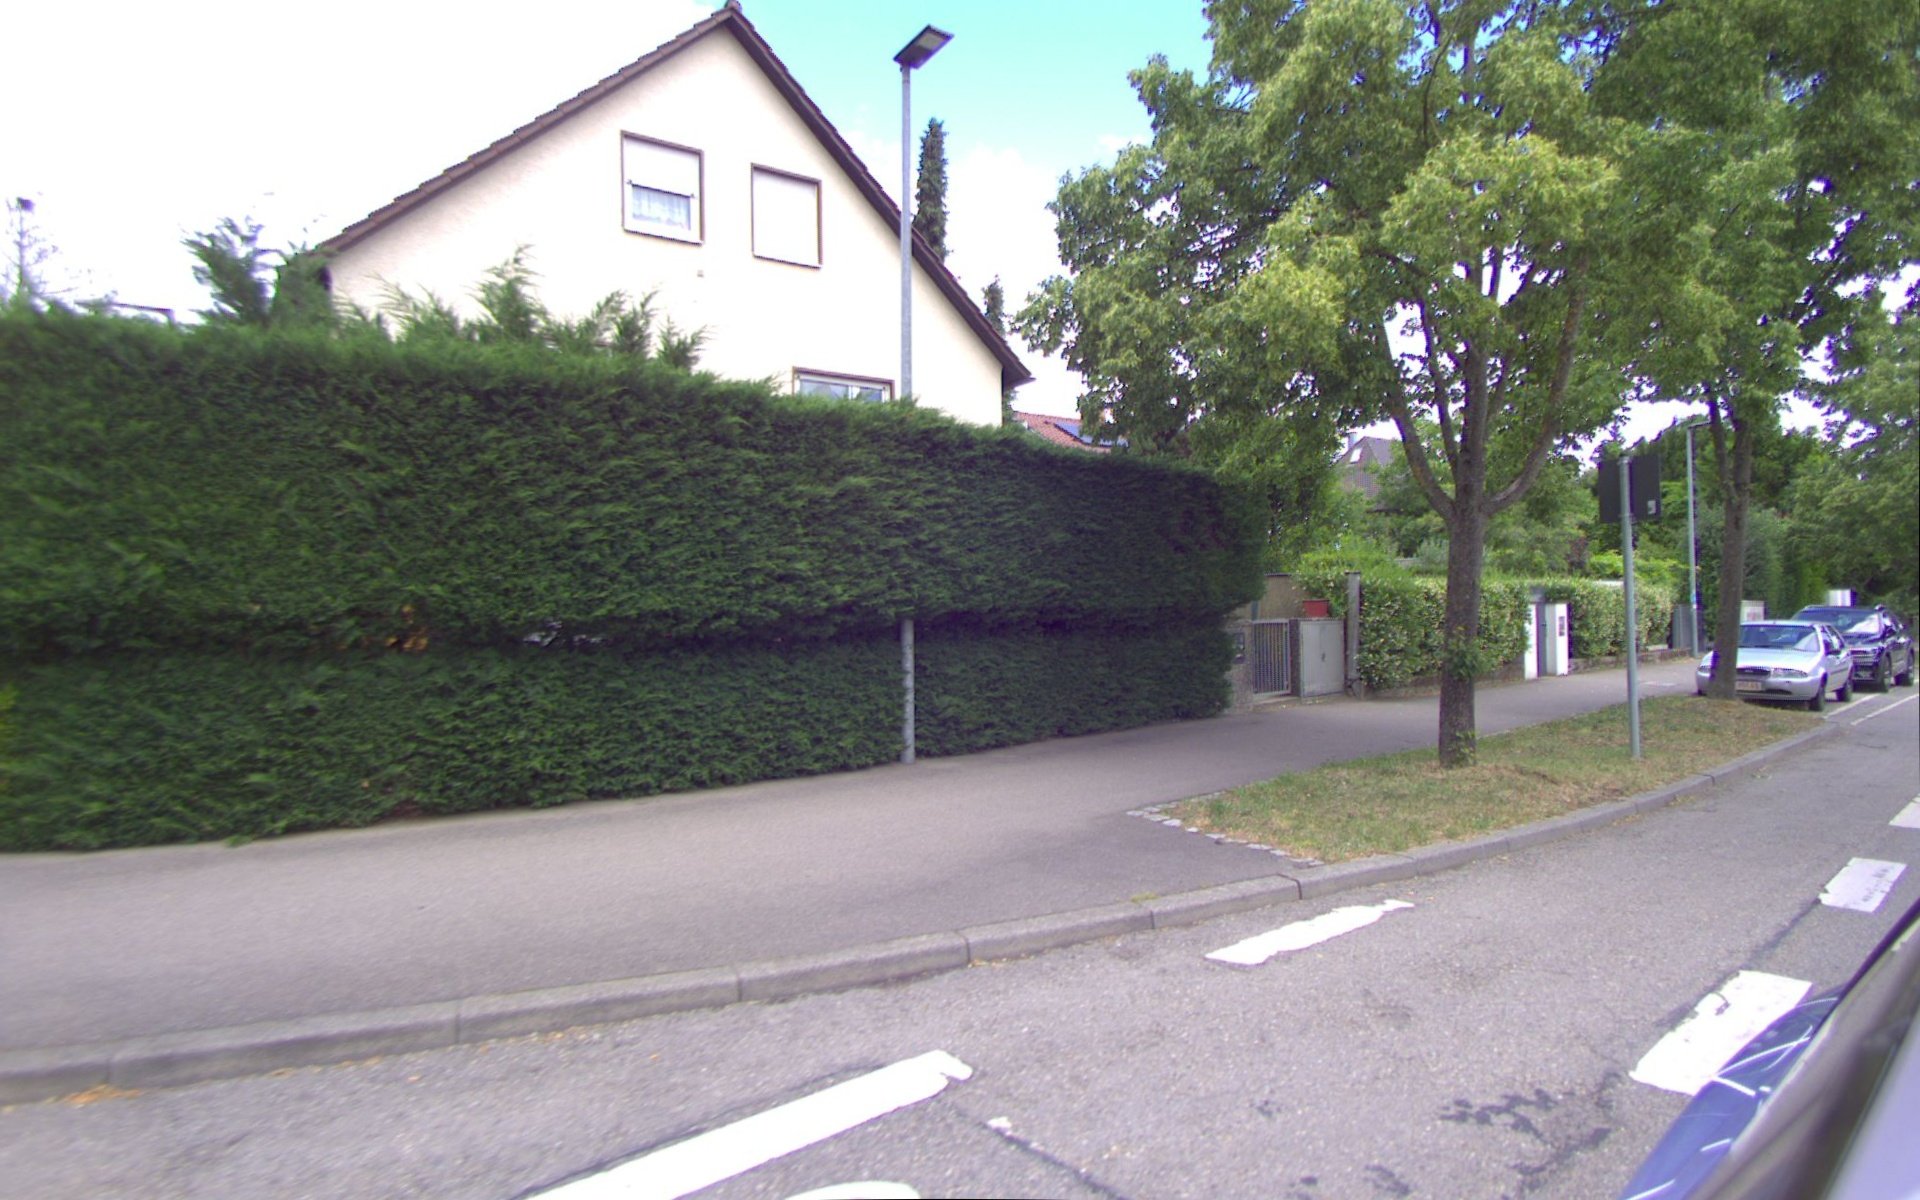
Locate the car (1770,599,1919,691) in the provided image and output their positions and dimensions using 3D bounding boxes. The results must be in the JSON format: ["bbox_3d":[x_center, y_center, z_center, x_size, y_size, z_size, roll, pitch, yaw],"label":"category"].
[{"bbox_3d":[18.070,0.820,20.440,4.466,1.657,1.769,0,-1,-39],"label":"car"}]

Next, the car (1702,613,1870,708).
[{"bbox_3d":[13.671,0.917,16.701,3.477,1.368,1.561,0,0,-40],"label":"car"}]
